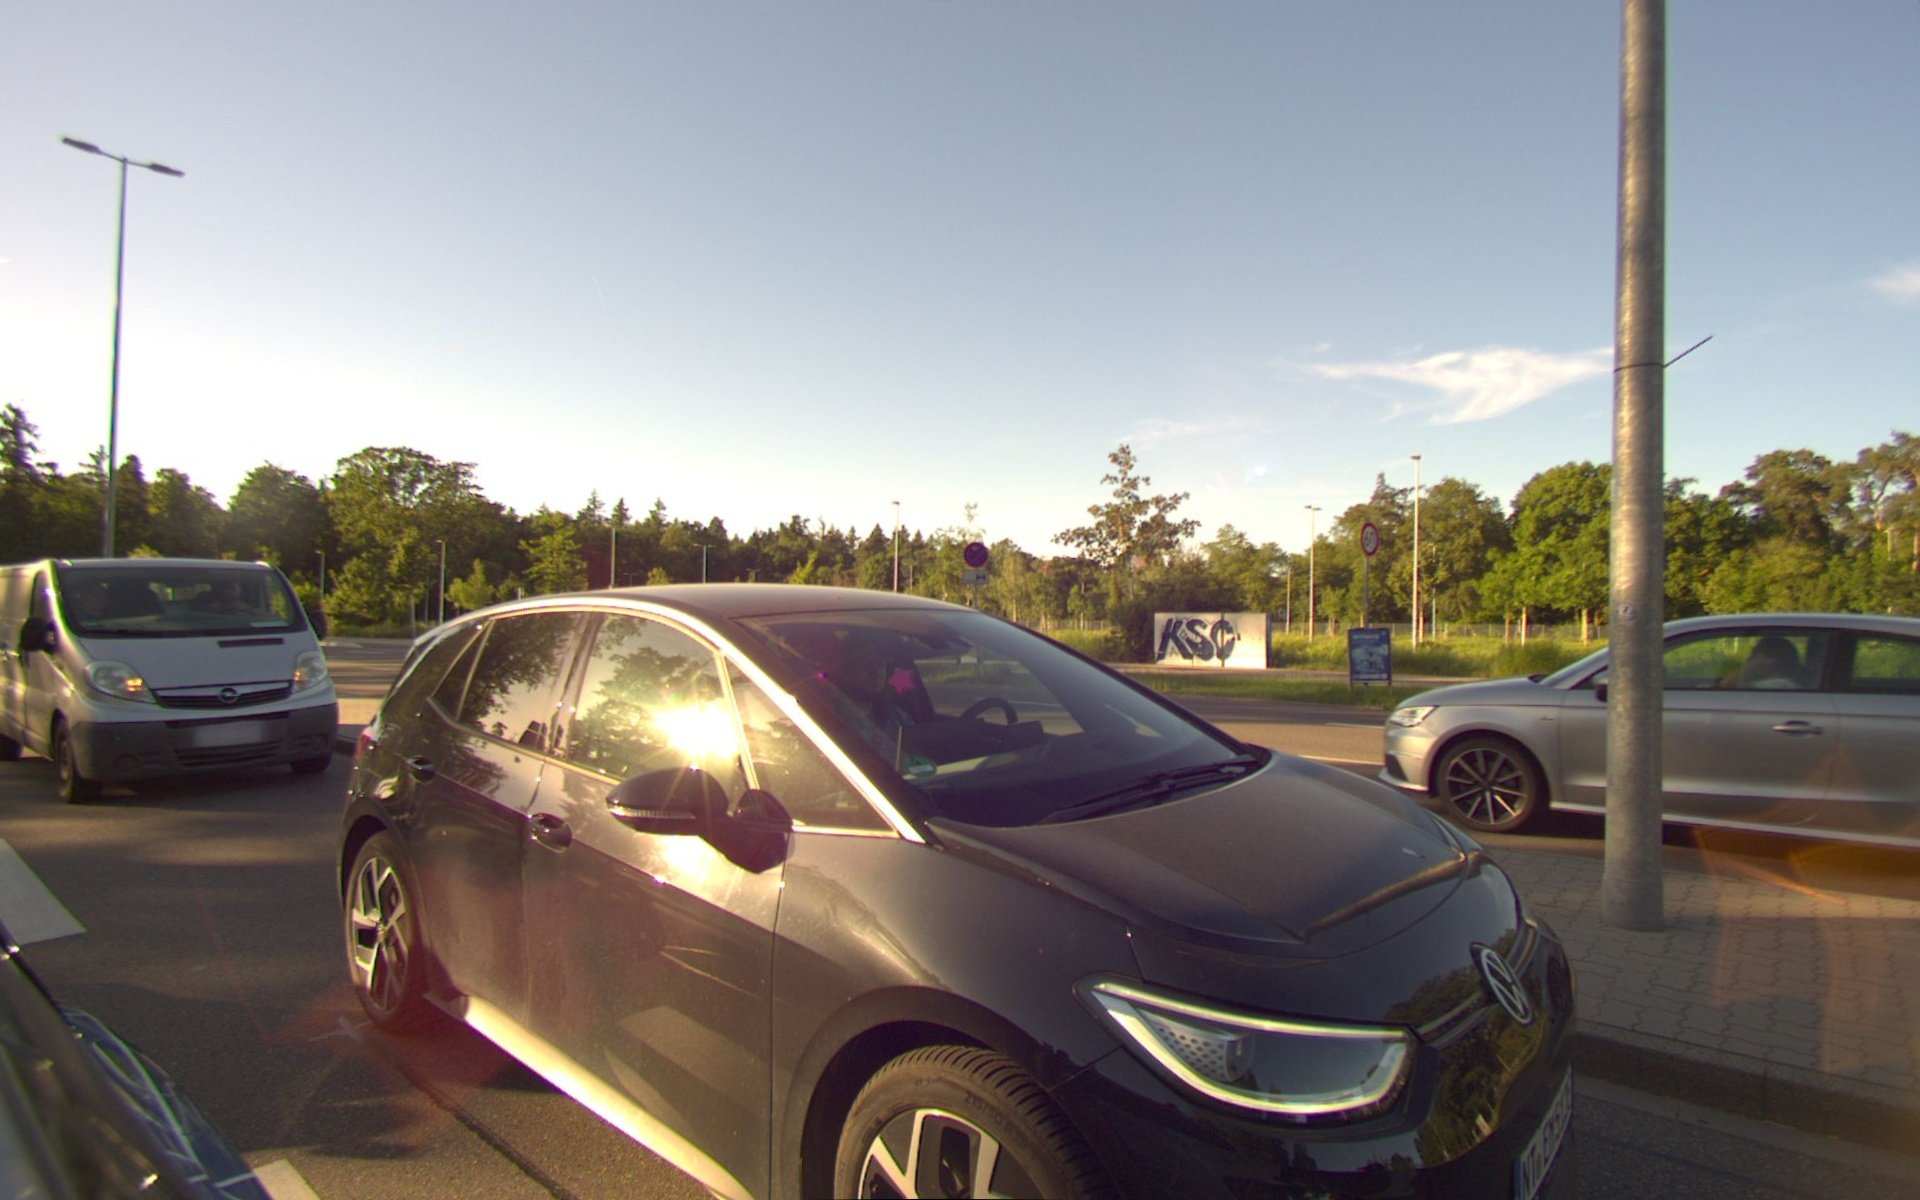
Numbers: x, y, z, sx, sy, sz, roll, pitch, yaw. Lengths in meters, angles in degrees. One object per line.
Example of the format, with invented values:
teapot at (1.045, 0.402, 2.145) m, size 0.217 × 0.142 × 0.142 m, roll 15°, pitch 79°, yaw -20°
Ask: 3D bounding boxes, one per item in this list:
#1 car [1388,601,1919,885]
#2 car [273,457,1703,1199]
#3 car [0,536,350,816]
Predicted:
car at (4.815, 0.717, 6.077) m, size 3.842 × 1.406 × 1.583 m, roll 0°, pitch 0°, yaw 41°
car at (-0.321, 0.630, 3.021) m, size 3.997 × 1.548 × 1.859 m, roll 0°, pitch 0°, yaw 40°
car at (-7.704, 0.577, 9.503) m, size 5.045 × 1.977 × 1.859 m, roll -1°, pitch -1°, yaw 40°
